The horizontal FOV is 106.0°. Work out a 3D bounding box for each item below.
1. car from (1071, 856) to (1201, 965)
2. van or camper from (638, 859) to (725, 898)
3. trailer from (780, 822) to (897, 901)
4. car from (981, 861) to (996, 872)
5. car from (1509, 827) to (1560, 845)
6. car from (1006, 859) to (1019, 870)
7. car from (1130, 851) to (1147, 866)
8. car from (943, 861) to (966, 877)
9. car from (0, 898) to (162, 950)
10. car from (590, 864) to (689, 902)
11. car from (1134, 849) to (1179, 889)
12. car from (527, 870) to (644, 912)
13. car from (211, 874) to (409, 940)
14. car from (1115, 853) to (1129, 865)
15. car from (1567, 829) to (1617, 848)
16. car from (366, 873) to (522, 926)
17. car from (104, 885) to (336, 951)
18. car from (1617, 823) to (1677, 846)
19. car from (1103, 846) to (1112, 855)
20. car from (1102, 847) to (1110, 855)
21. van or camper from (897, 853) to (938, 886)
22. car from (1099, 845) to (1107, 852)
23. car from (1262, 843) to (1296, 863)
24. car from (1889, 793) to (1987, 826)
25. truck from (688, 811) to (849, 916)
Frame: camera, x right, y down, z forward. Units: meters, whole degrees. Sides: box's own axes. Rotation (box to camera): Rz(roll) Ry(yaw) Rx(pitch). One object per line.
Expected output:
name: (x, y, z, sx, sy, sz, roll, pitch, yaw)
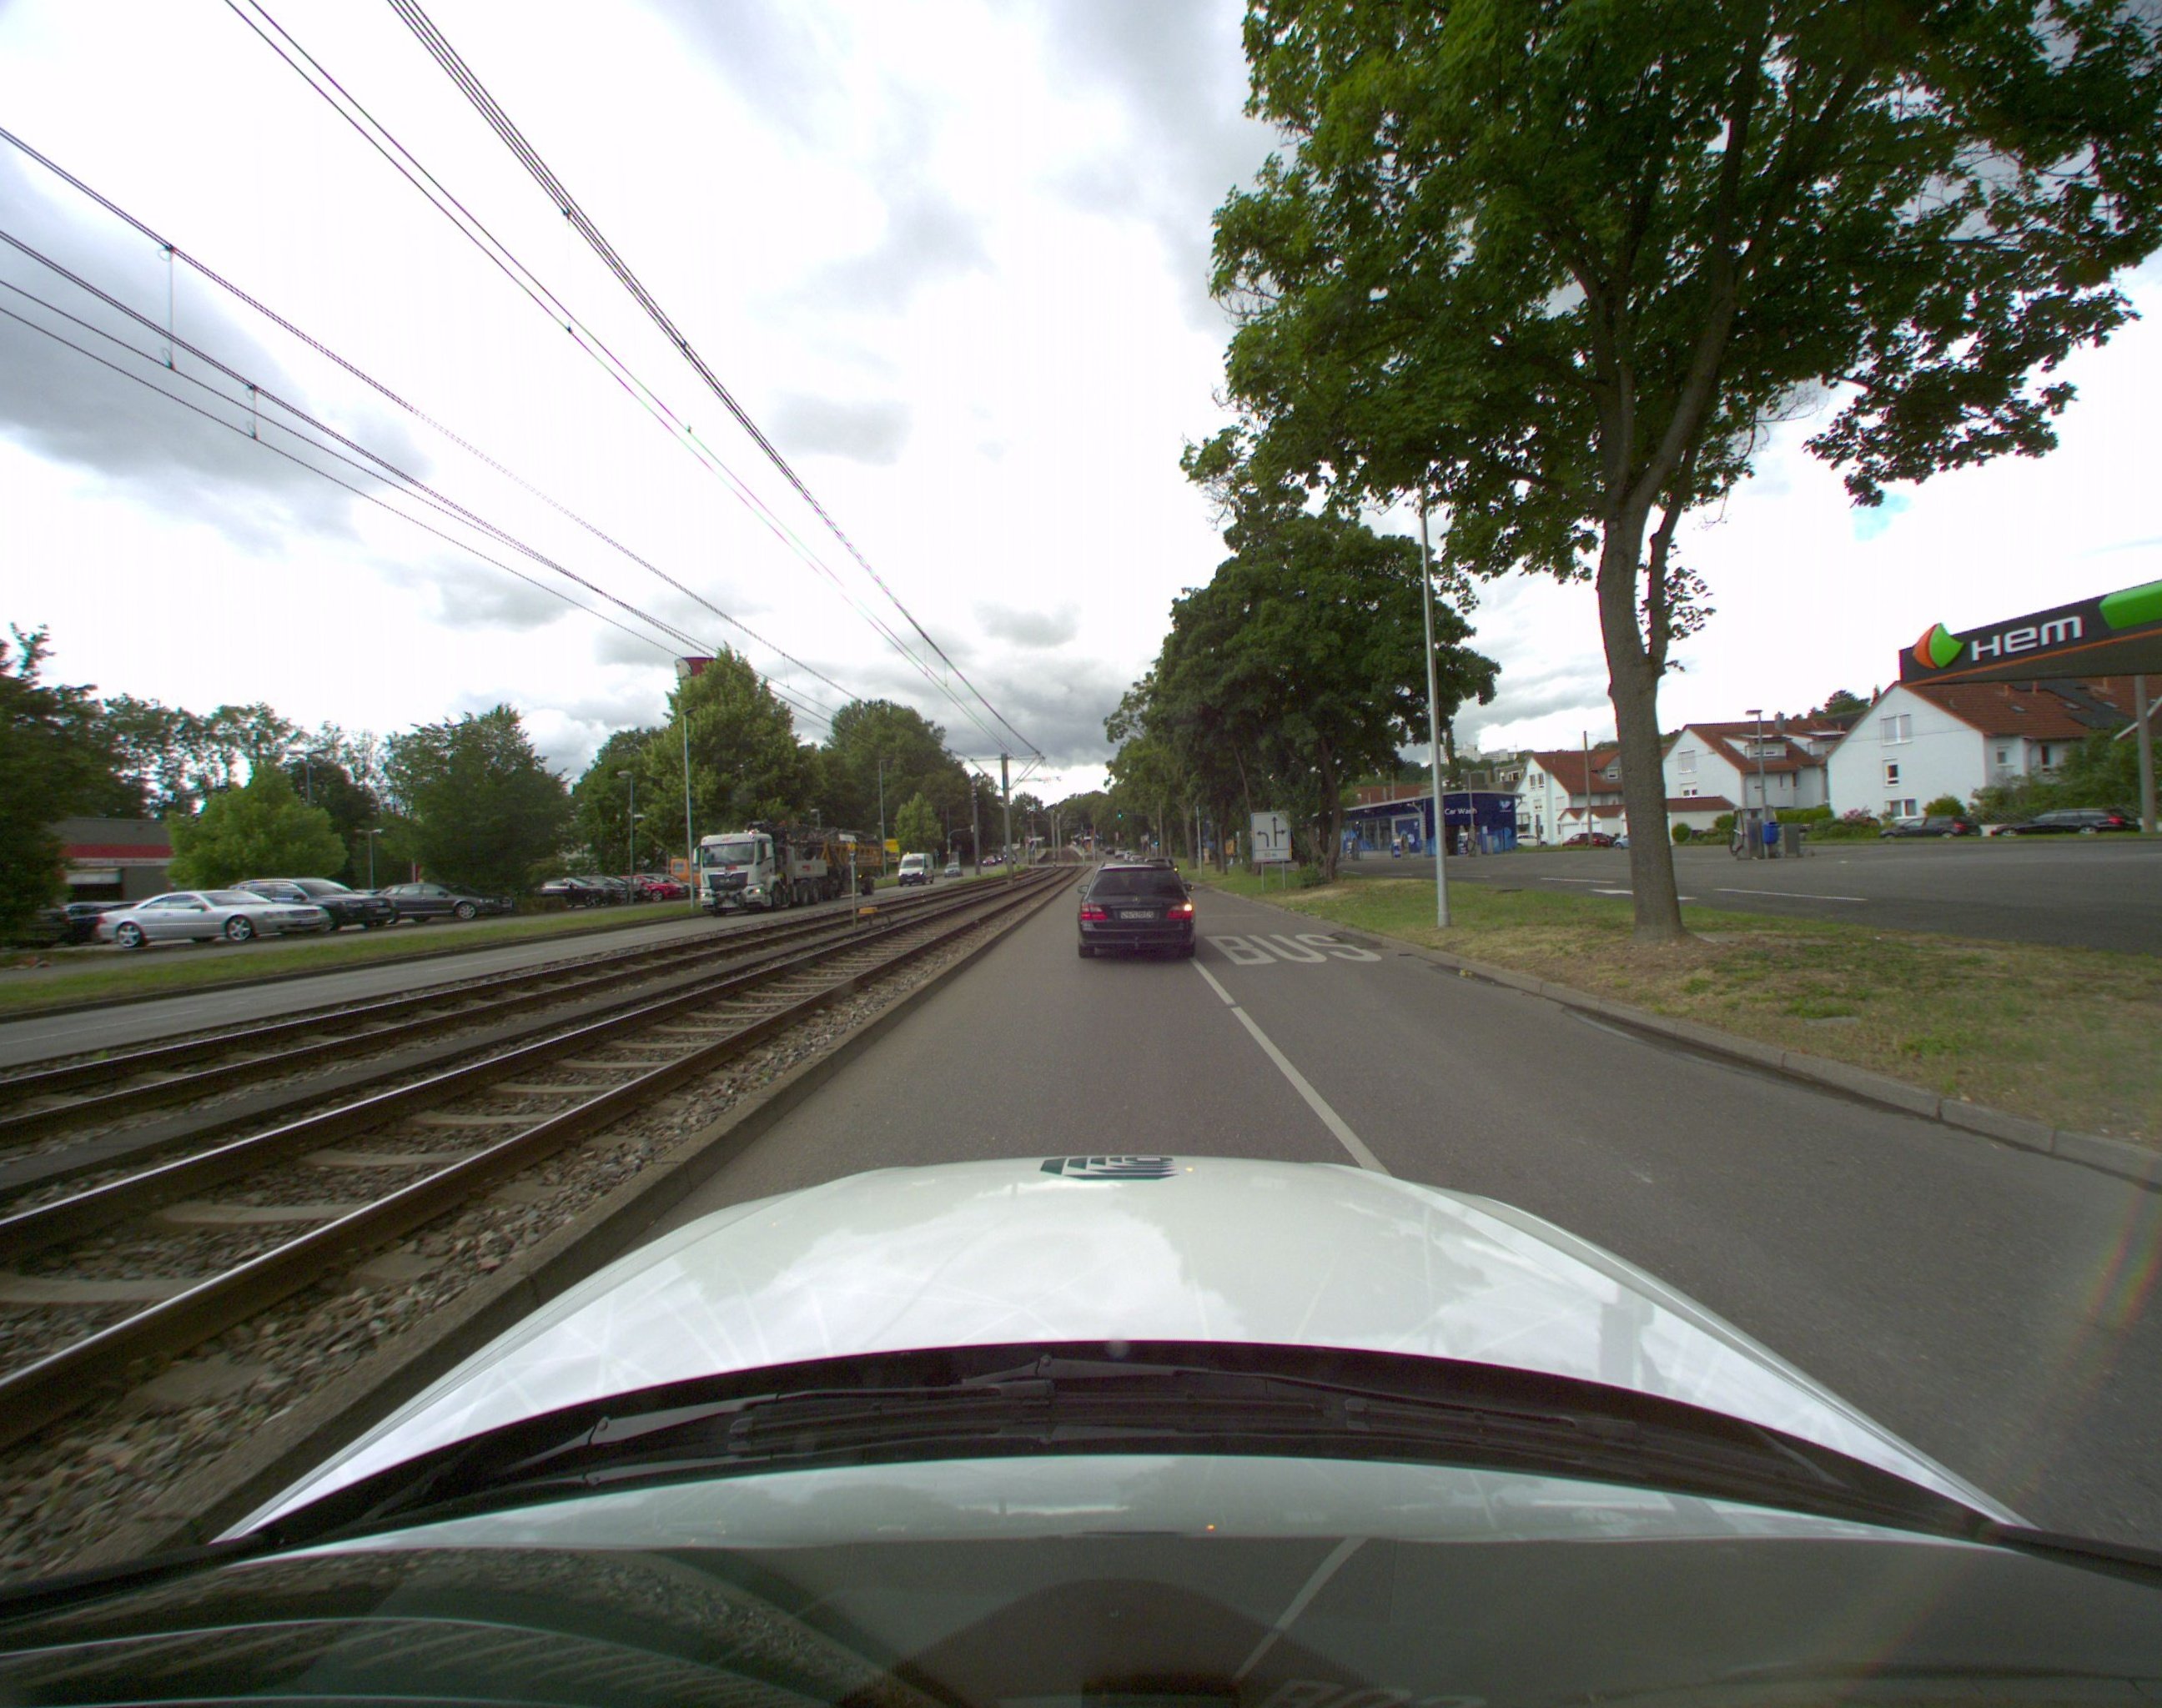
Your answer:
car: (0.831, 0.797, 13.387, 1.802, 1.474, 3.882, -1, 0, 2)
van or camper: (-22.876, 1.377, 46.725, 3.978, 2.135, 1.876, -1, 0, -3)
trailer: (-13.109, 0.392, 45.678, 2.697, 3.660, 13.291, -3, 0, -1)
car: (-14.561, 1.930, 128.485, 1.758, 1.647, 3.772, -1, 0, 2)
car: (45.922, -1.839, 82.478, 4.203, 1.684, 1.777, -1, -1, -1)
car: (-11.006, 1.699, 130.873, 1.758, 1.647, 3.772, -1, 0, 2)
car: (7.478, 0.607, 105.903, 1.986, 1.838, 4.001, -1, 0, 1)
car: (-13.644, 1.565, 88.302, 1.758, 1.647, 3.772, -1, 0, 2)
car: (-34.711, 2.402, 28.118, 3.940, 1.507, 1.683, -3, 0, 0)
car: (-22.619, 1.485, 41.844, 3.978, 1.797, 1.876, -1, 0, -3)
car: (3.371, 0.664, 36.959, 1.774, 1.750, 3.719, -1, -1, 2)
car: (-22.129, 1.648, 36.523, 3.978, 1.599, 1.876, -3, 0, -3)
car: (-23.014, 1.544, 24.446, 3.978, 1.635, 1.876, -3, 0, -3)
car: (6.102, 0.762, 121.754, 1.986, 1.838, 4.001, -1, 0, 1)
car: (41.490, -1.262, 66.188, 1.581, 1.394, 3.405, -1, 0, -10)
car: (-22.898, 1.597, 29.399, 3.978, 1.599, 1.876, -3, 0, -3)
car: (-22.878, 1.672, 21.766, 4.294, 1.472, 1.680, -2, 0, -1)
car: (42.394, -1.463, 61.084, 1.533, 1.599, 3.723, -1, 0, -10)
car: (5.778, -0.704, 179.395, 1.986, 1.838, 4.001, -1, 0, 1)
car: (5.457, -0.607, 177.159, 1.643, 1.554, 3.649, -1, 0, 2)
van or camper: (-12.977, 1.189, 64.944, 1.987, 2.354, 5.764, -3, 0, 0)
car: (5.209, -1.296, 195.486, 1.662, 1.532, 3.768, -1, 0, -2)
car: (17.995, -0.120, 73.952, 1.987, 1.682, 4.607, -3, 0, 26)
car: (51.053, -2.621, 48.632, 1.683, 1.684, 4.002, -3, 0, 2)
truck: (-12.923, 0.352, 35.100, 2.699, 3.663, 11.106, -3, 0, -1)
